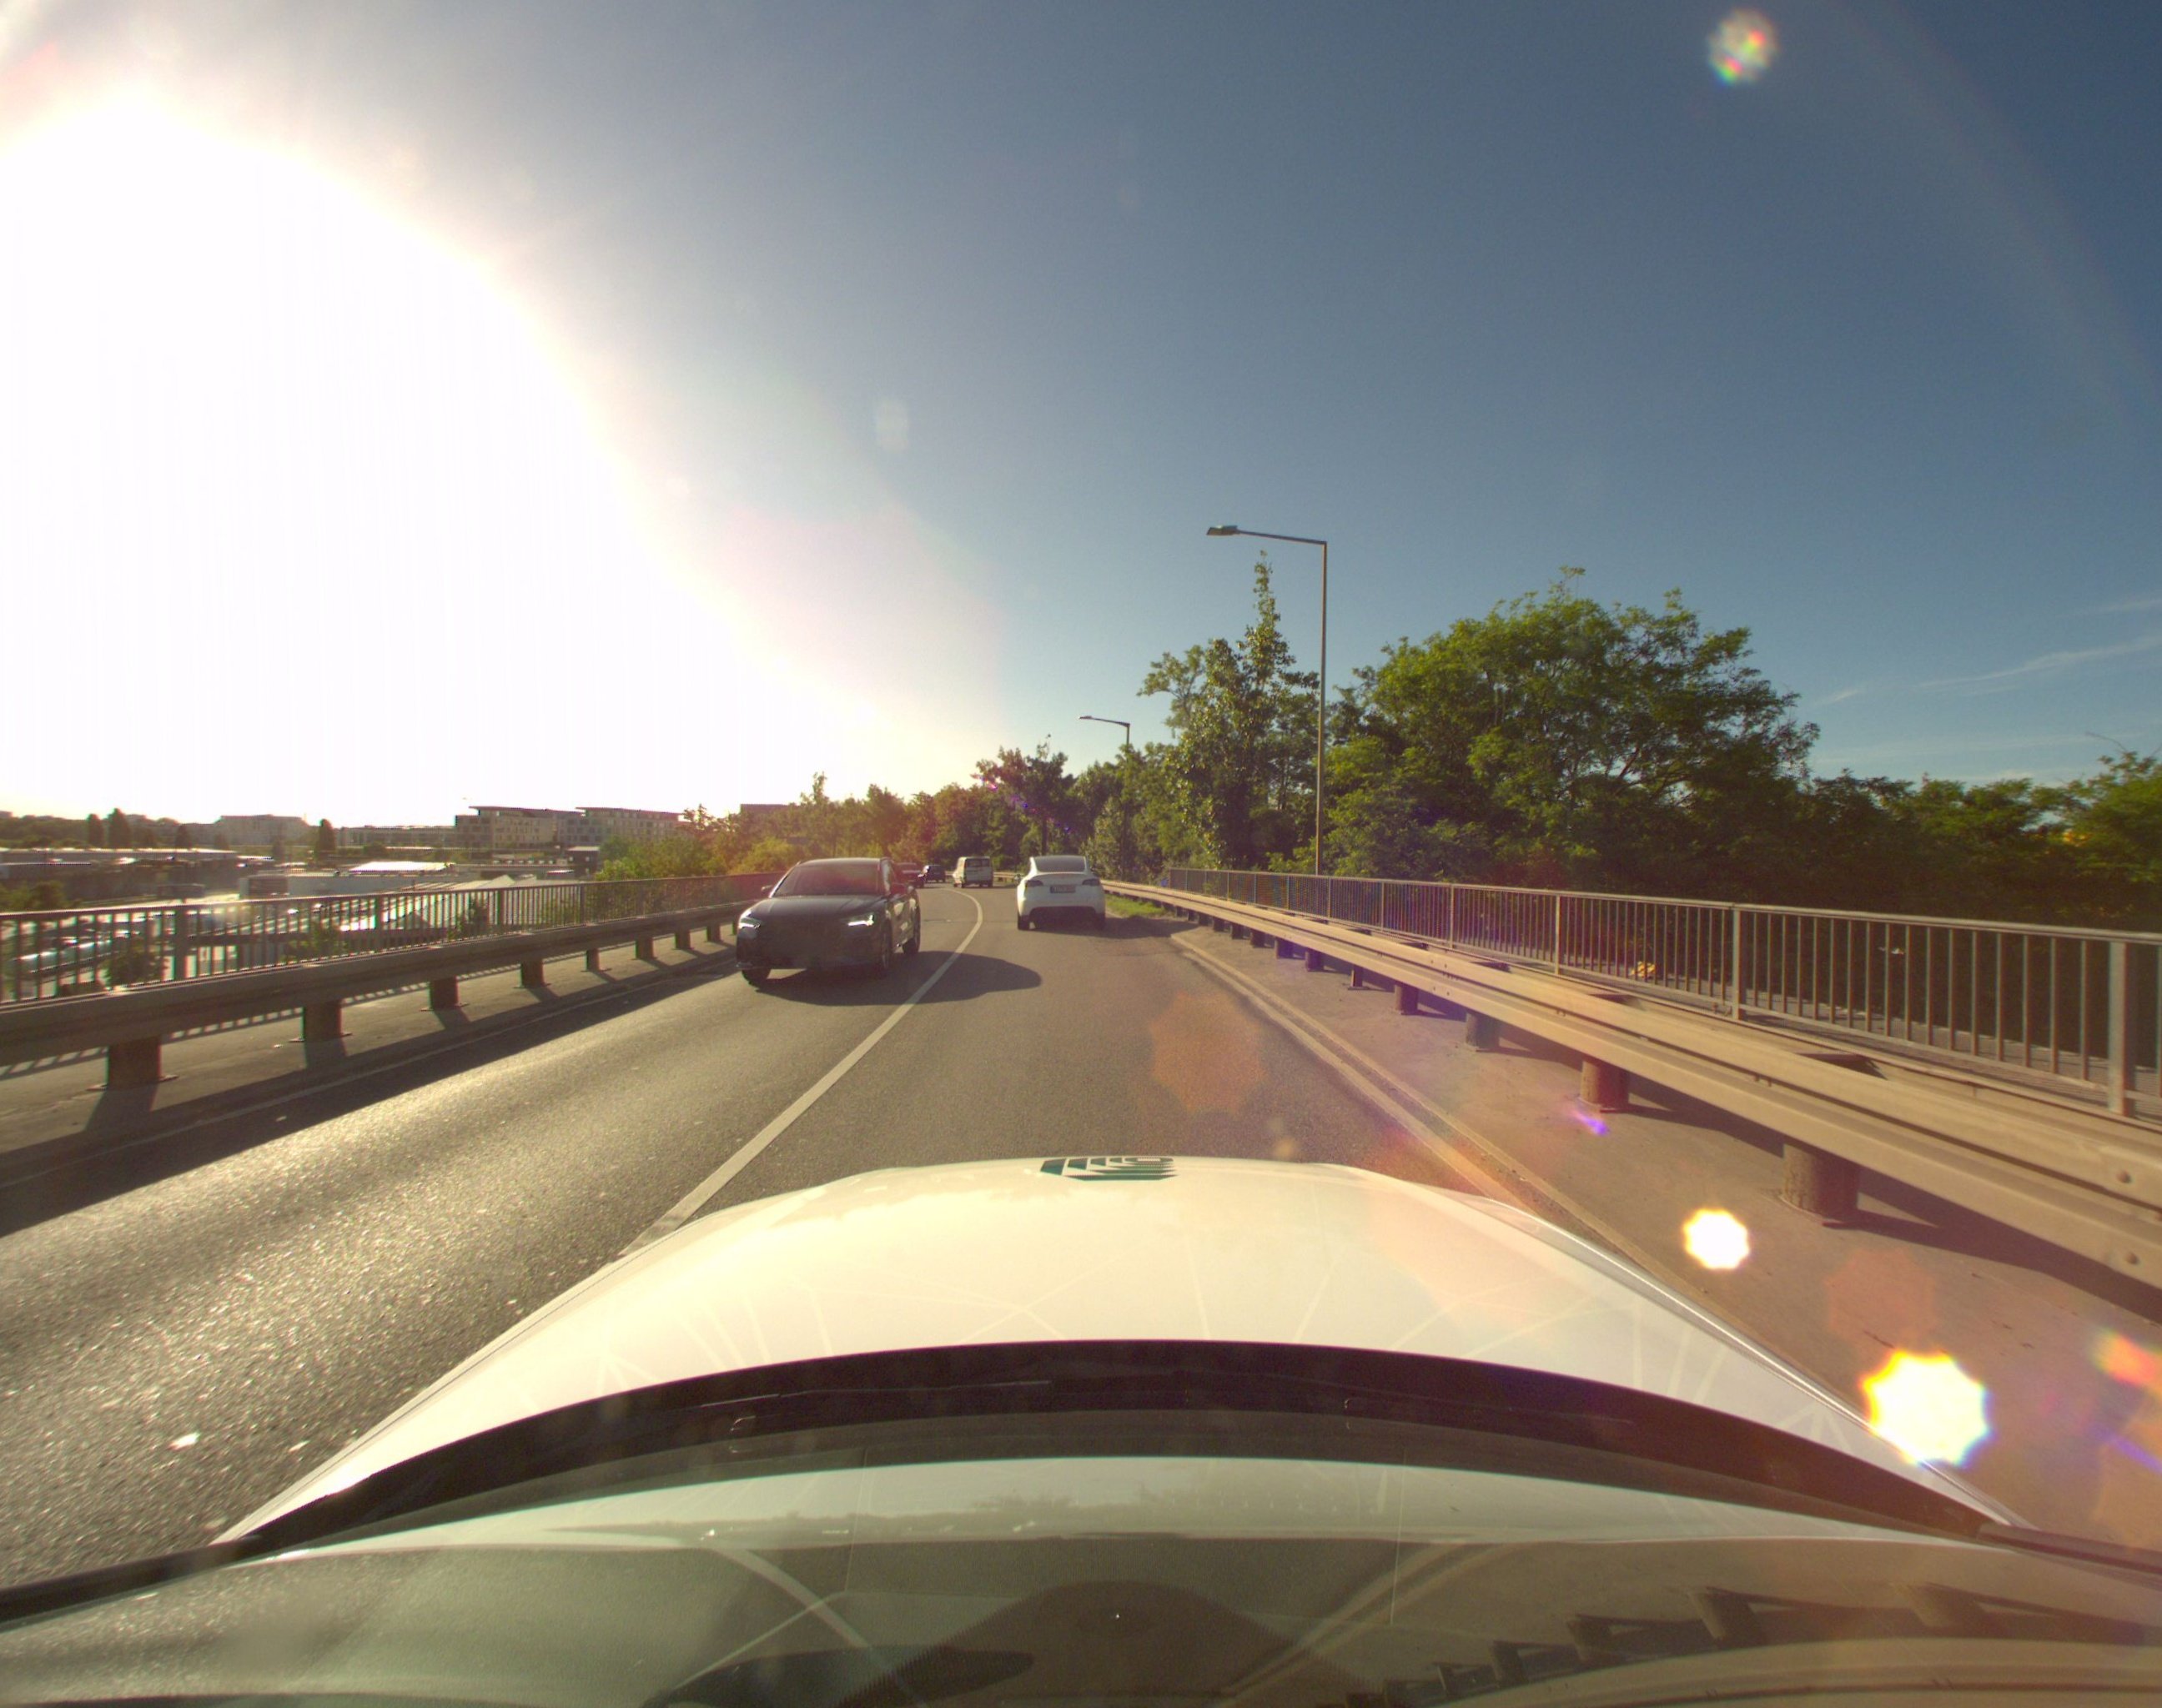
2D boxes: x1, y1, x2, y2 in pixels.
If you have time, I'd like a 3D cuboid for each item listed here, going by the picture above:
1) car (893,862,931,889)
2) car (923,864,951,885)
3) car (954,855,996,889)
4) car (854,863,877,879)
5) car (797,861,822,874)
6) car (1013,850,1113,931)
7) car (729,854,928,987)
[{"bbox_3d":[-11.202,1.398,53.876,1.904,1.643,4.435,-1,0,-19],"label":"car"},{"bbox_3d":[-11.697,1.600,66.001,1.863,1.585,3.894,-1,0,-15],"label":"car"},{"bbox_3d":[-6.543,1.052,49.953,2.008,1.940,4.445,-1,0,-14],"label":"car"},{"bbox_3d":[-22.771,1.790,86.069,1.867,1.585,3.886,-1,0,-22],"label":"car"},{"bbox_3d":[-34.494,1.715,103.370,1.850,1.555,3.849,-1,0,-38],"label":"car"},{"bbox_3d":[-0.534,0.769,18.899,1.983,1.638,4.054,-1,0,-6],"label":"car"},{"bbox_3d":[-3.427,0.804,11.902,1.820,1.552,4.178,-1,0,-4],"label":"car"}]
